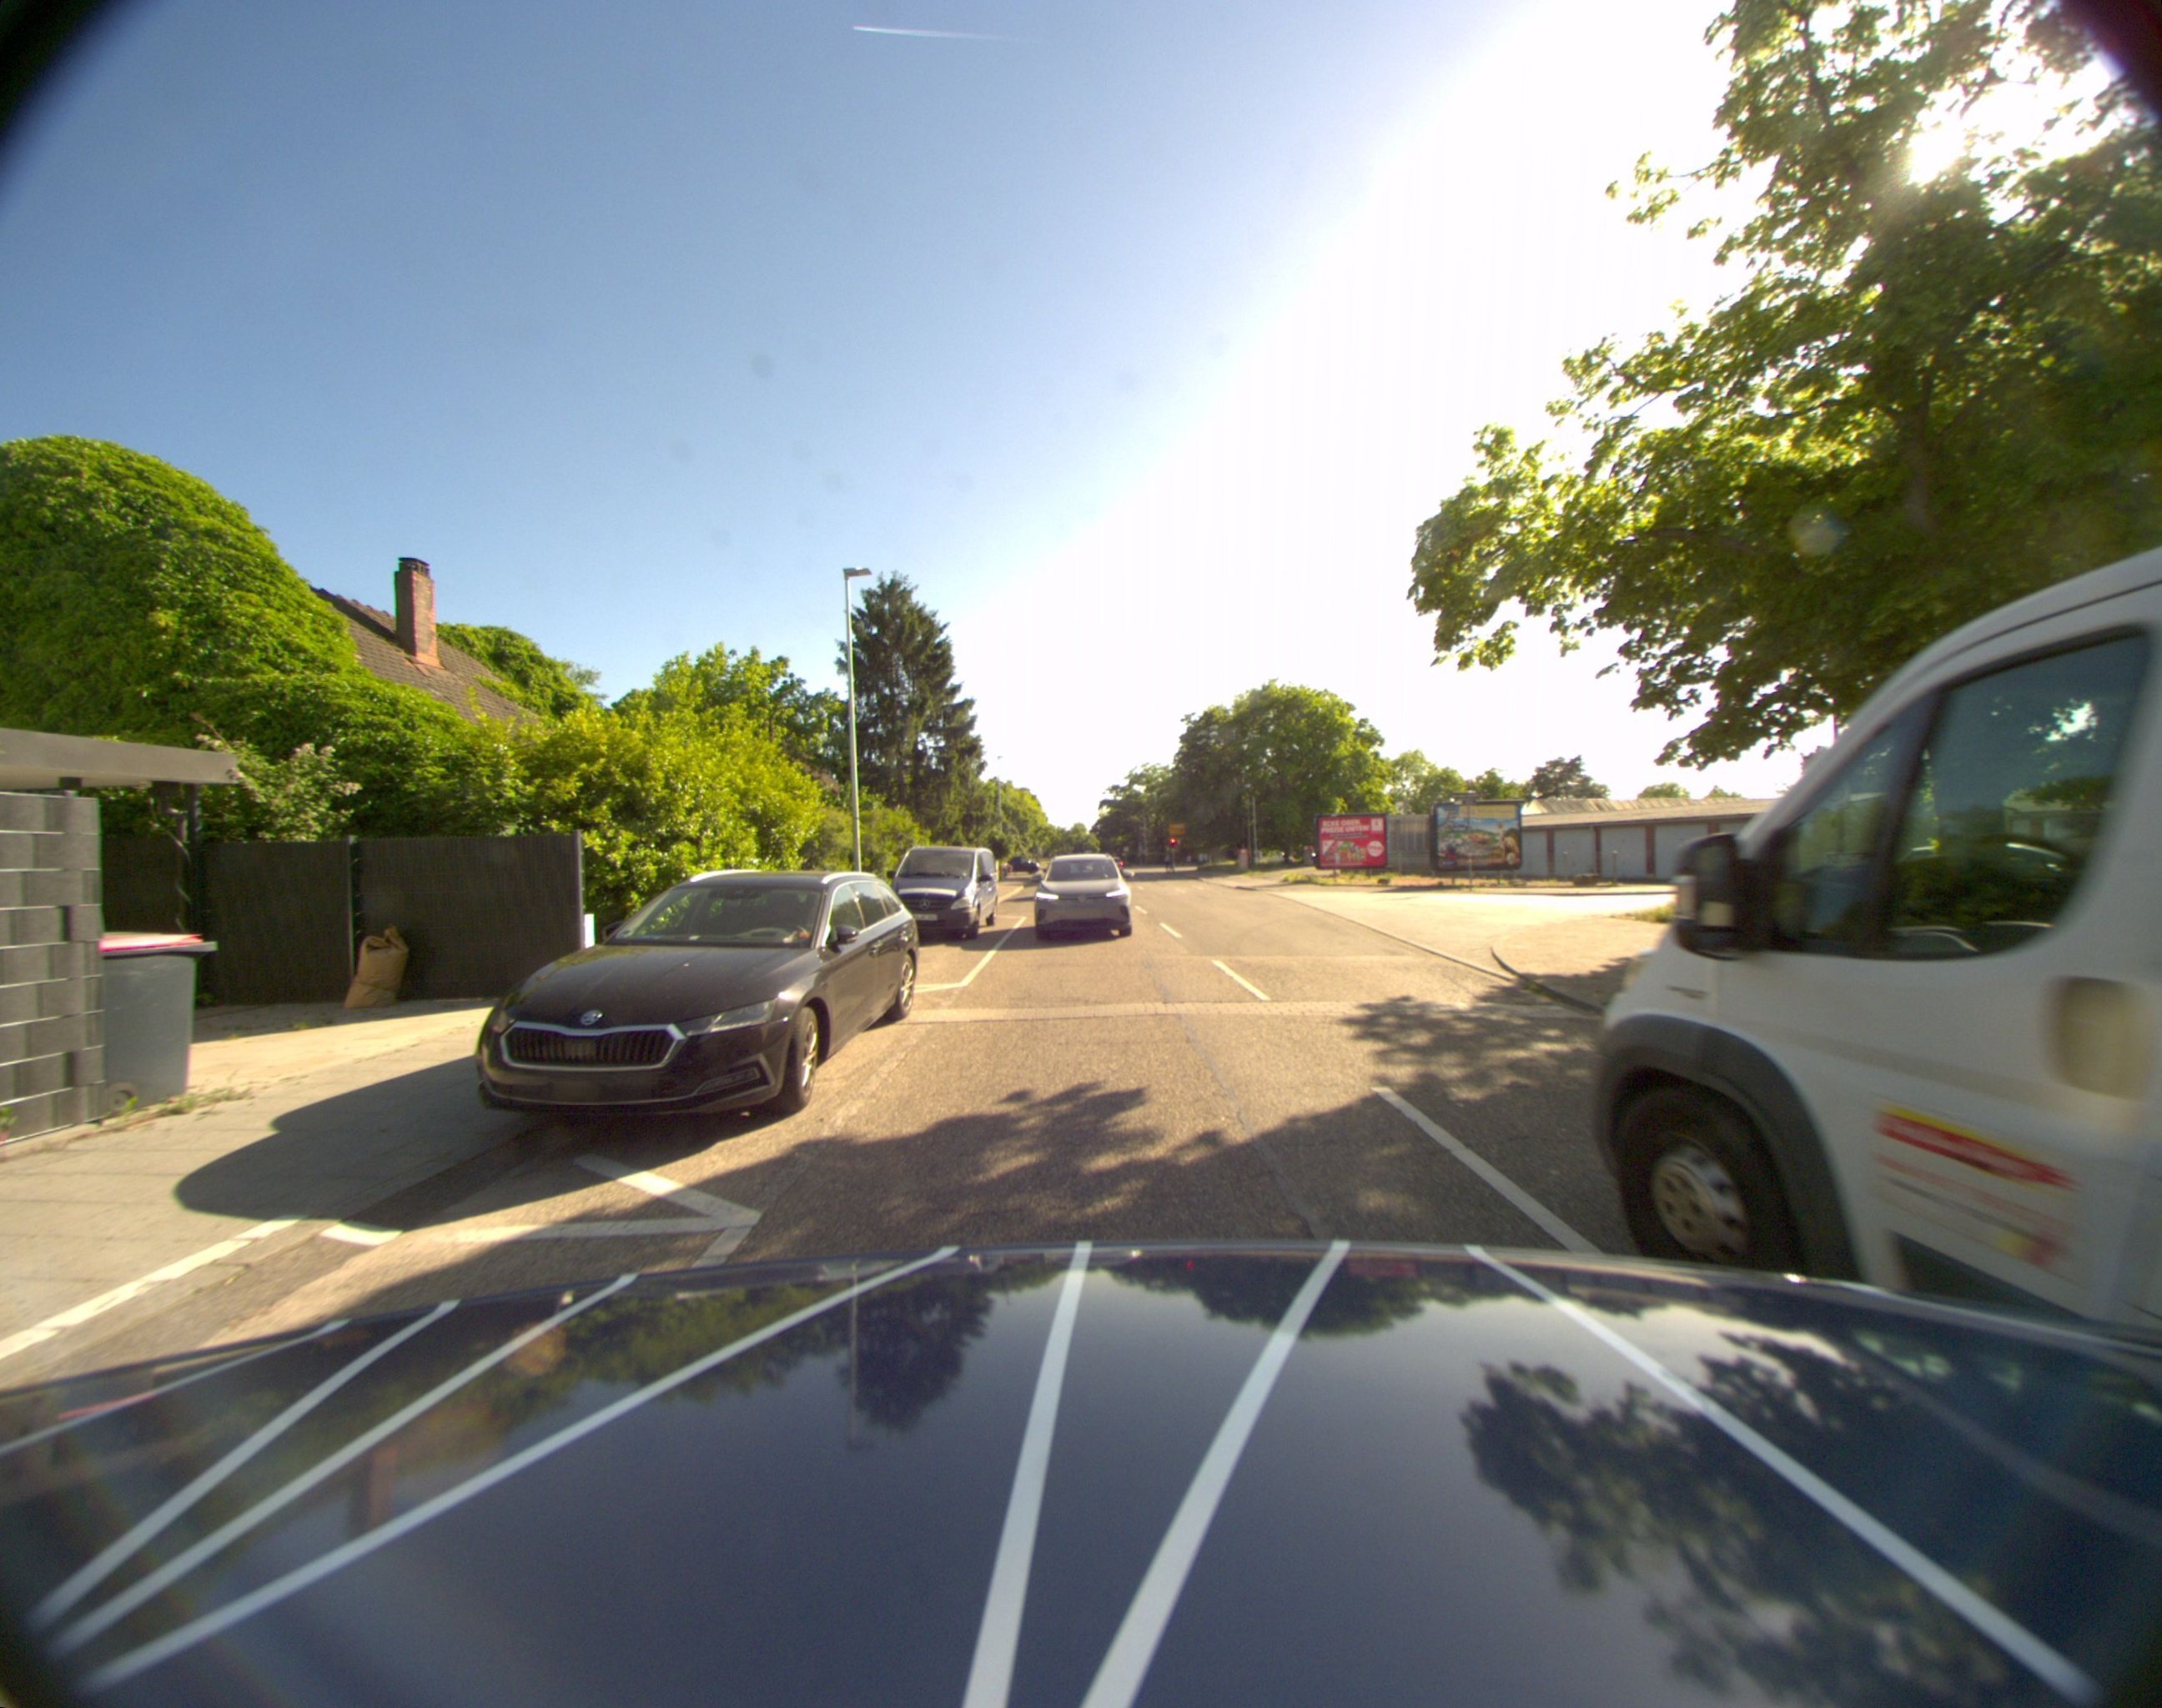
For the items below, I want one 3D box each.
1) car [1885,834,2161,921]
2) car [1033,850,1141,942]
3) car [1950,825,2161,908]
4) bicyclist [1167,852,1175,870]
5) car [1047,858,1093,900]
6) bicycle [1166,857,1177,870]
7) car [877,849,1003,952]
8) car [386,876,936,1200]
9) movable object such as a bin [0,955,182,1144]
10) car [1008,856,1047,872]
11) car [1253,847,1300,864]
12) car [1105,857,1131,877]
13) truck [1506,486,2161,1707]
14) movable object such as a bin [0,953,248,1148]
[{"bbox_3d":[18.860,0.411,14.891,1.735,1.455,3.877,-2,0,-13],"label":"car"},{"bbox_3d":[0.154,0.805,16.765,1.992,1.631,4.364,-3,1,1],"label":"car"},{"bbox_3d":[21.401,0.239,15.880,1.704,1.612,3.877,-2,-1,-16],"label":"car"},{"bbox_3d":[8.199,0.609,69.225,0.542,1.632,0.829,-2,1,-7],"label":"bicyclist"},{"bbox_3d":[-0.533,0.994,31.996,1.692,1.564,4.120,-3,0,-3],"label":"car"},{"bbox_3d":[8.238,0.839,69.139,0.529,1.135,2.025,-2,0,-6],"label":"bicycle"},{"bbox_3d":[-2.940,0.873,16.901,1.841,1.896,4.697,-3,0,0],"label":"car"},{"bbox_3d":[-2.586,1.001,6.317,1.770,1.471,4.991,-1,0,0],"label":"car"},{"bbox_3d":[-6.617,1.235,4.954,0.596,1.034,0.704,-1,3,2],"label":"movable object such as a bin"},{"bbox_3d":[-5.651,0.998,80.200,4.000,1.559,1.709,-1,0,-9],"label":"car"},{"bbox_3d":[22.329,0.194,86.781,4.867,1.830,1.862,-2,0,-12],"label":"car"},{"bbox_3d":[3.079,1.076,64.598,1.841,1.480,4.889,-1,0,-1],"label":"car"},{"bbox_3d":[2.899,0.526,0.145,2.135,2.321,6.442,-1,1,1],"label":"truck"},{"bbox_3d":[-6.024,1.210,4.830,0.596,1.034,0.704,-1,3,2],"label":"movable object such as a bin"}]
